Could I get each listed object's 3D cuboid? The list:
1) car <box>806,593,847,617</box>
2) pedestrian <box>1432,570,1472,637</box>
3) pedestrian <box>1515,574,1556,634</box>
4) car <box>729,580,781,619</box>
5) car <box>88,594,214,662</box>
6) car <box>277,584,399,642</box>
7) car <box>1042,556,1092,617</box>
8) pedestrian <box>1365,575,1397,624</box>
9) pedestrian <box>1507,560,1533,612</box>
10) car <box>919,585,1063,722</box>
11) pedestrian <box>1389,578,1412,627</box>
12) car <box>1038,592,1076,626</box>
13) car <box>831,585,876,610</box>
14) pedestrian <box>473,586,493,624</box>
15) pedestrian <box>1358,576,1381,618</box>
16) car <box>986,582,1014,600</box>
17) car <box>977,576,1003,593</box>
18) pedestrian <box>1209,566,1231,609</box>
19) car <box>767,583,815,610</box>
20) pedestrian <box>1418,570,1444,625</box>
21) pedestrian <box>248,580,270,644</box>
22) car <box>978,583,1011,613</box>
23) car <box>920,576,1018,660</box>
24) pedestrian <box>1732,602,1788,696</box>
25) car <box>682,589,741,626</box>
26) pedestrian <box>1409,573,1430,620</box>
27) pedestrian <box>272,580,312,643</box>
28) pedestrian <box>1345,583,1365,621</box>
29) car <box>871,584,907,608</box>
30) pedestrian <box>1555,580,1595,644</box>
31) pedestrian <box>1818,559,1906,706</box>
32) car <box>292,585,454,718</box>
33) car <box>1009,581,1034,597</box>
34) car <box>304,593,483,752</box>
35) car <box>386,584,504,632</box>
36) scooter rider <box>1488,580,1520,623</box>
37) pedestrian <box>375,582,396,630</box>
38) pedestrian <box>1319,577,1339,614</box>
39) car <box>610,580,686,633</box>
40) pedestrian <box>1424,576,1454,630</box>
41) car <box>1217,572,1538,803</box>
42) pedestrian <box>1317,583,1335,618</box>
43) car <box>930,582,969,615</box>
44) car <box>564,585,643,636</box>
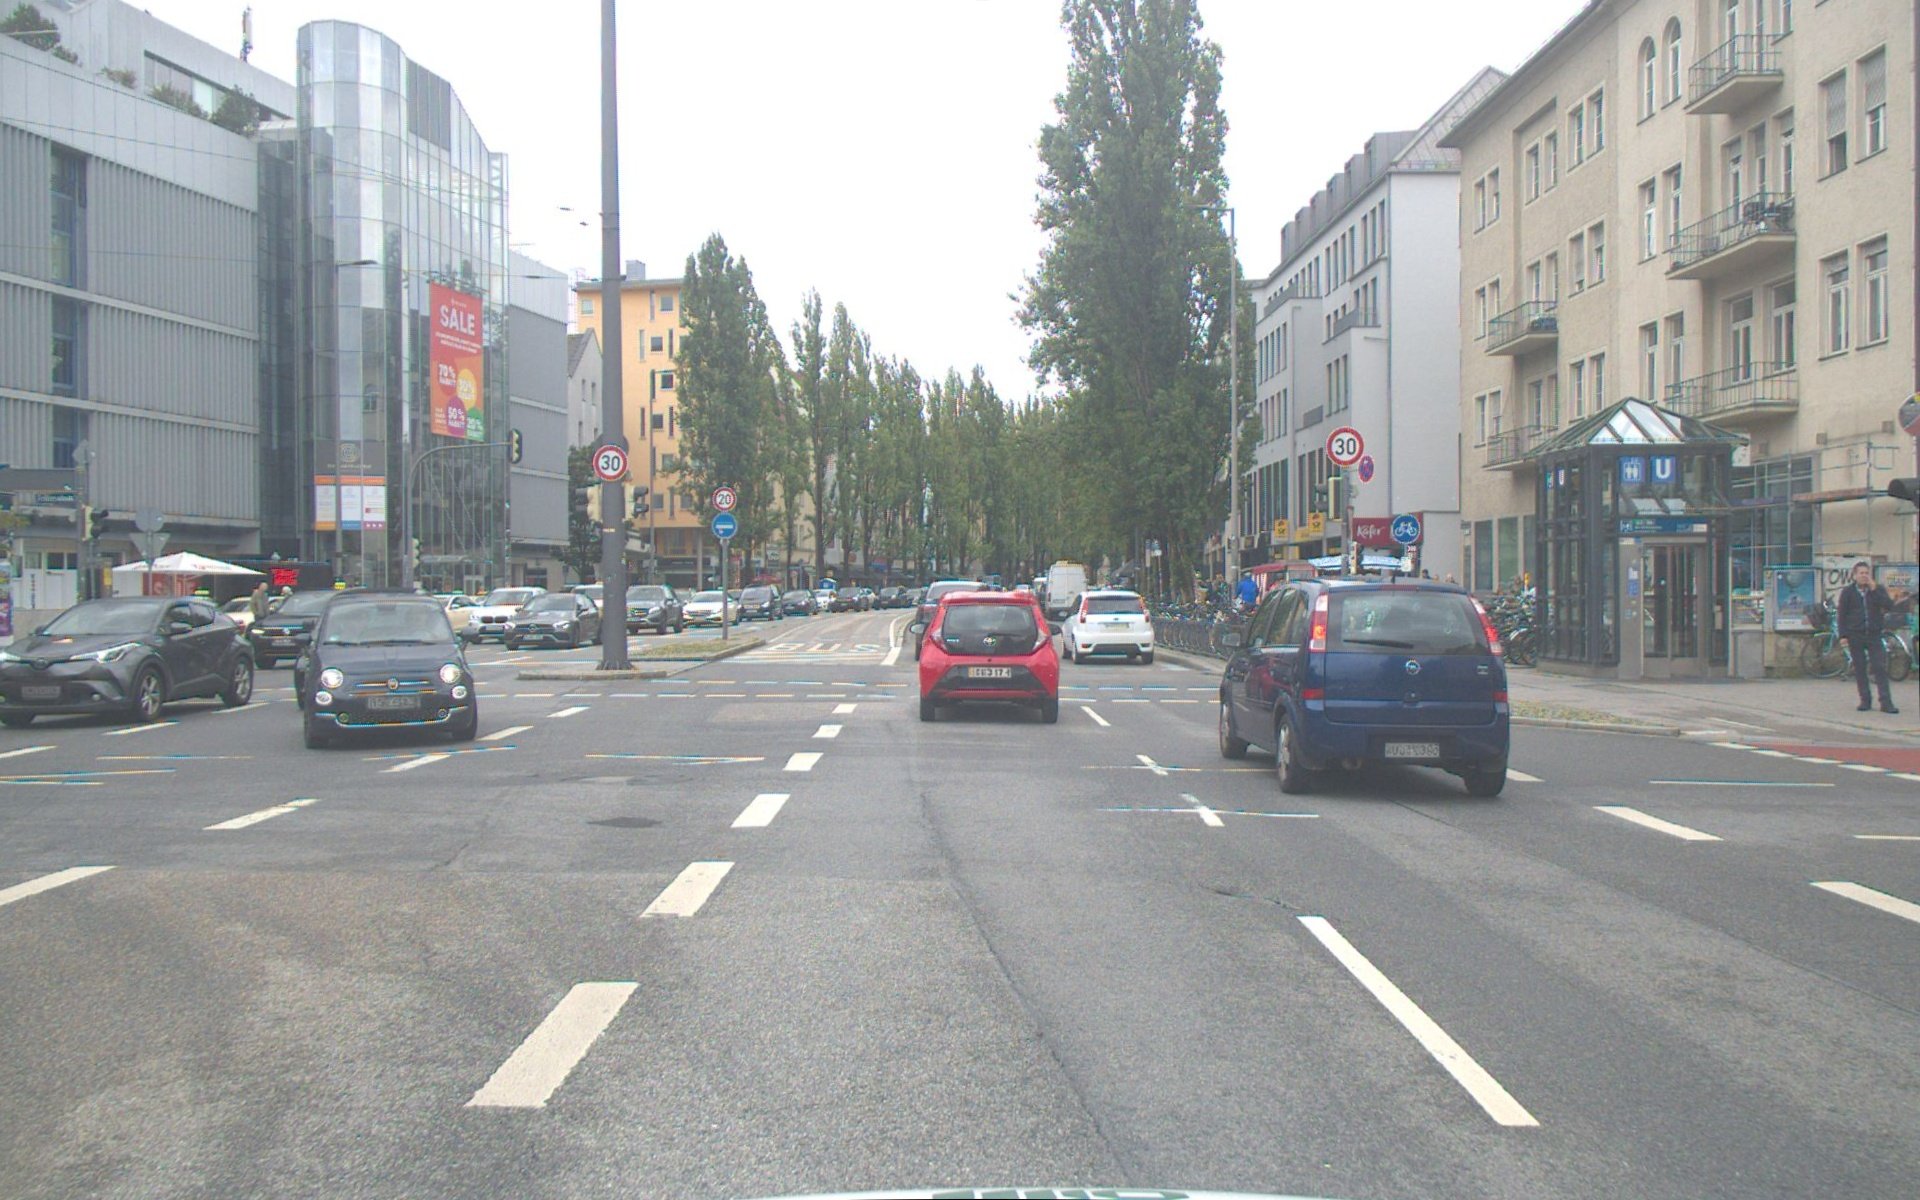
[{"bbox_3d":[-9.167,0.337,113.566,1.951,1.561,4.469,-1,0,7],"label":"car"},{"bbox_3d":[13.196,0.078,44.347,0.796,1.757,0.758,-2,0,-1],"label":"pedestrian"},{"bbox_3d":[15.338,0.102,44.108,0.762,1.544,0.758,-2,0,-3],"label":"pedestrian"},{"bbox_3d":[-9.829,-0.035,79.446,1.897,1.769,4.588,0,0,0],"label":"car"},{"bbox_3d":[-20.940,0.685,43.001,1.959,1.562,4.400,-2,1,-13],"label":"car"},{"bbox_3d":[-17.901,0.342,47.823,1.862,1.570,4.392,-1,1,0],"label":"car"},{"bbox_3d":[5.049,-0.639,78.687,2.063,2.766,4.804,0,0,0],"label":"car"},{"bbox_3d":[13.560,-0.024,53.271,0.794,1.548,0.798,-1,0,32],"label":"pedestrian"},{"bbox_3d":[18.355,-0.453,54.234,0.628,1.673,0.562,-1,0,-1],"label":"pedestrian"},{"bbox_3d":[0.348,0.576,19.718,1.572,1.487,3.130,1,0,0],"label":"car"},{"bbox_3d":[13.924,0.072,52.282,0.568,1.531,0.615,0,0,31],"label":"pedestrian"},{"bbox_3d":[4.957,0.458,84.909,1.668,1.691,3.556,0,0,-1],"label":"car"},{"bbox_3d":[-6.769,-0.146,105.767,1.951,1.561,4.591,0,0,8],"label":"car"},{"bbox_3d":[-21.911,0.242,75.983,0.637,1.721,0.712,0,0,12],"label":"pedestrian"},{"bbox_3d":[16.393,-0.120,66.153,0.717,1.630,0.742,-1,0,-1],"label":"pedestrian"},{"bbox_3d":[3.929,-0.880,162.598,1.951,1.721,4.418,-1,1,12],"label":"car"},{"bbox_3d":[3.170,-1.668,173.374,1.951,1.721,4.418,-1,1,12],"label":"car"},{"bbox_3d":[10.936,-0.531,69.504,0.774,1.758,0.763,-1,0,-1],"label":"pedestrian"},{"bbox_3d":[-9.296,-0.199,91.339,1.806,1.406,4.604,0,0,5],"label":"car"},{"bbox_3d":[14.719,-0.077,51.650,0.590,1.699,0.683,-1,0,34],"label":"pedestrian"},{"bbox_3d":[-19.586,0.336,46.212,0.438,1.790,0.354,0,0,35],"label":"pedestrian"},{"bbox_3d":[2.196,-0.113,105.144,1.952,1.870,4.002,-1,0,3],"label":"car"},{"bbox_3d":[0.139,0.348,35.138,1.953,1.646,3.999,-1,0,-1],"label":"car"},{"bbox_3d":[14.874,0.902,30.764,0.644,1.699,0.721,-2,0,1],"label":"pedestrian"},{"bbox_3d":[-10.119,0.295,67.615,1.729,1.446,4.639,-1,0,0],"label":"car"},{"bbox_3d":[14.662,-0.113,52.769,0.497,1.510,0.463,-1,0,35],"label":"pedestrian"},{"bbox_3d":[-18.649,0.317,46.158,0.754,1.720,0.752,-1,0,4],"label":"pedestrian"},{"bbox_3d":[14.871,0.061,62.242,0.586,1.427,0.580,0,0,-1],"label":"pedestrian"},{"bbox_3d":[-5.093,-0.308,119.466,1.951,1.721,4.924,0,0,4],"label":"car"},{"bbox_3d":[16.554,0.318,44.515,0.735,1.679,0.758,-2,0,-3],"label":"pedestrian"},{"bbox_3d":[10.818,0.375,19.827,0.820,1.720,0.816,0,0,36],"label":"pedestrian"},{"bbox_3d":[-7.676,0.622,21.841,1.476,1.561,2.831,-2,1,-9],"label":"car"},{"bbox_3d":[6.552,-1.178,175.267,1.951,1.721,4.418,-1,1,12],"label":"car"},{"bbox_3d":[-6.047,0.678,17.452,1.525,1.471,3.514,-1,0,-23],"label":"car"},{"bbox_3d":[-17.234,0.245,55.584,1.951,1.534,4.638,-1,0,8],"label":"car"},{"bbox_3d":[16.365,0.038,49.789,0.671,1.241,0.719,-2,0,-3],"label":"scooter rider"},{"bbox_3d":[-22.533,0.228,64.875,0.545,1.849,0.628,0,0,10],"label":"pedestrian"},{"bbox_3d":[16.095,-0.199,72.184,0.698,1.585,0.676,-1,0,-1],"label":"pedestrian"},{"bbox_3d":[-10.574,0.181,56.340,1.707,1.699,4.732,-1,1,0],"label":"car"},{"bbox_3d":[15.831,0.107,54.717,0.727,1.757,0.758,-2,0,-1],"label":"pedestrian"},{"bbox_3d":[3.219,0.605,13.427,1.668,1.617,3.556,0,0,-1],"label":"car"},{"bbox_3d":[15.036,0.021,67.948,0.586,1.427,0.580,0,0,-1],"label":"pedestrian"},{"bbox_3d":[-0.521,-0.091,77.408,1.737,1.464,3.937,-1,1,-2],"label":"car"},{"bbox_3d":[-15.780,0.417,73.516,1.952,2.048,5.526,-1,1,3],"label":"car"}]
